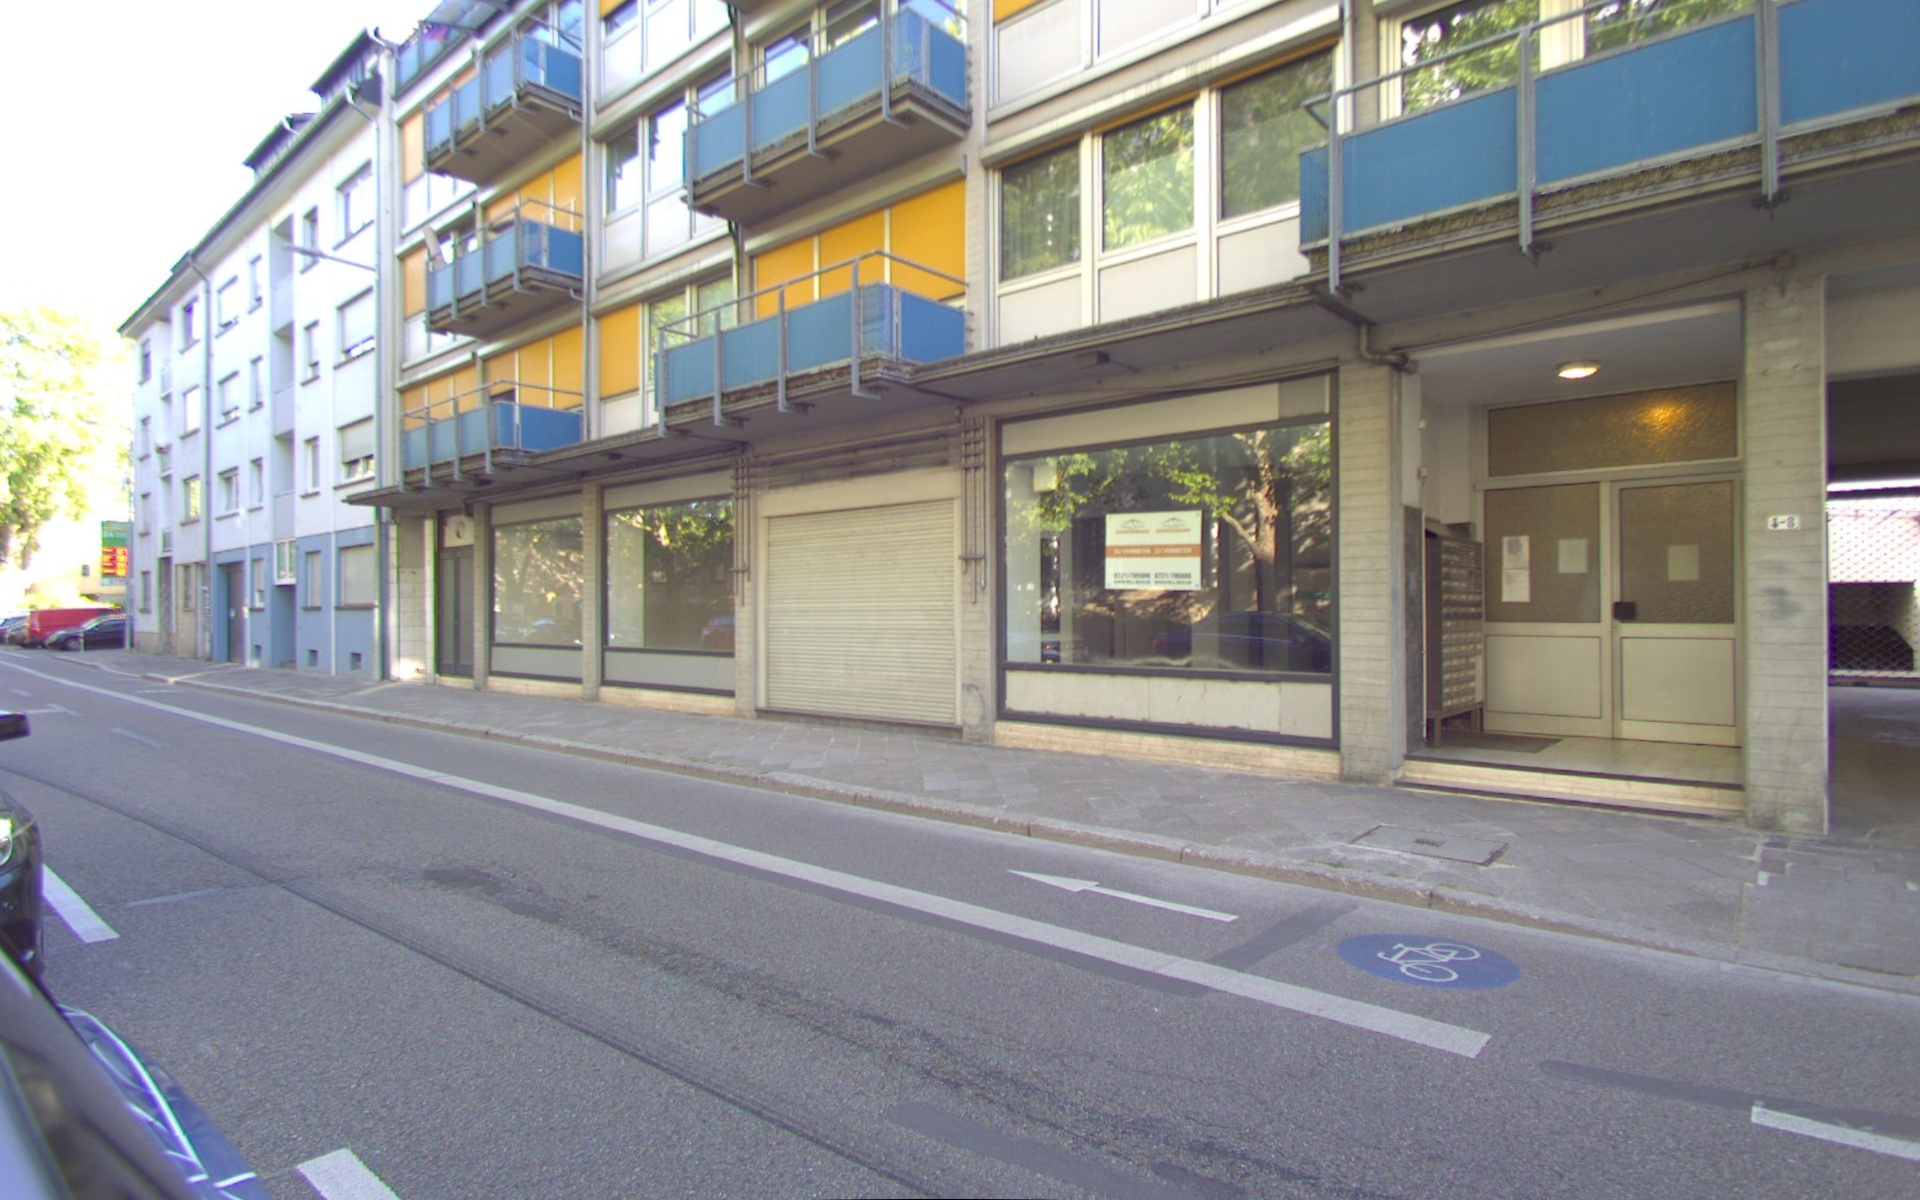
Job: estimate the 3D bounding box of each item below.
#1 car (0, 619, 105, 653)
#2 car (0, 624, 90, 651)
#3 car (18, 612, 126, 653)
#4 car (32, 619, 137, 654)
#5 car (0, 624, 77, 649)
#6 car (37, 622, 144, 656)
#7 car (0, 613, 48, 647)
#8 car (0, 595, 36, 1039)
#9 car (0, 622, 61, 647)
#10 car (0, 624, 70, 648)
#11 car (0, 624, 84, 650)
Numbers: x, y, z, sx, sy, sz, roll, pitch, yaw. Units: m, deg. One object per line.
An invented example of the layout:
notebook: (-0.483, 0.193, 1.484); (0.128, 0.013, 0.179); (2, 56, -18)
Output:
car: (-46.059, 1.786, 51.410); (1.603, 1.598, 3.854); (-1, 0, 42)
car: (-51.855, 2.102, 57.227); (1.594, 1.385, 3.854); (-1, 0, 42)
car: (-43.712, 1.571, 49.871); (1.749, 1.921, 3.854); (-1, -1, 42)
car: (-41.519, 1.706, 48.054); (1.602, 1.521, 3.620); (-1, 0, 42)
car: (-55.385, 2.183, 60.445); (1.525, 1.343, 3.854); (-1, 0, 42)
car: (-39.801, 1.752, 46.358); (1.534, 1.420, 3.551); (-2, -1, 42)
car: (-62.720, 1.973, 66.594); (1.725, 2.193, 3.854); (-1, 0, 42)
car: (-5.435, 0.769, 4.216); (4.291, 1.515, 1.805); (-1, 0, 40)
car: (-59.221, 2.194, 63.764); (1.539, 1.451, 3.733); (-1, 0, 42)
car: (-57.191, 2.206, 62.007); (1.525, 1.343, 3.854); (-1, 0, 42)
car: (-53.369, 2.122, 58.566); (1.594, 1.385, 3.854); (-1, 0, 42)
